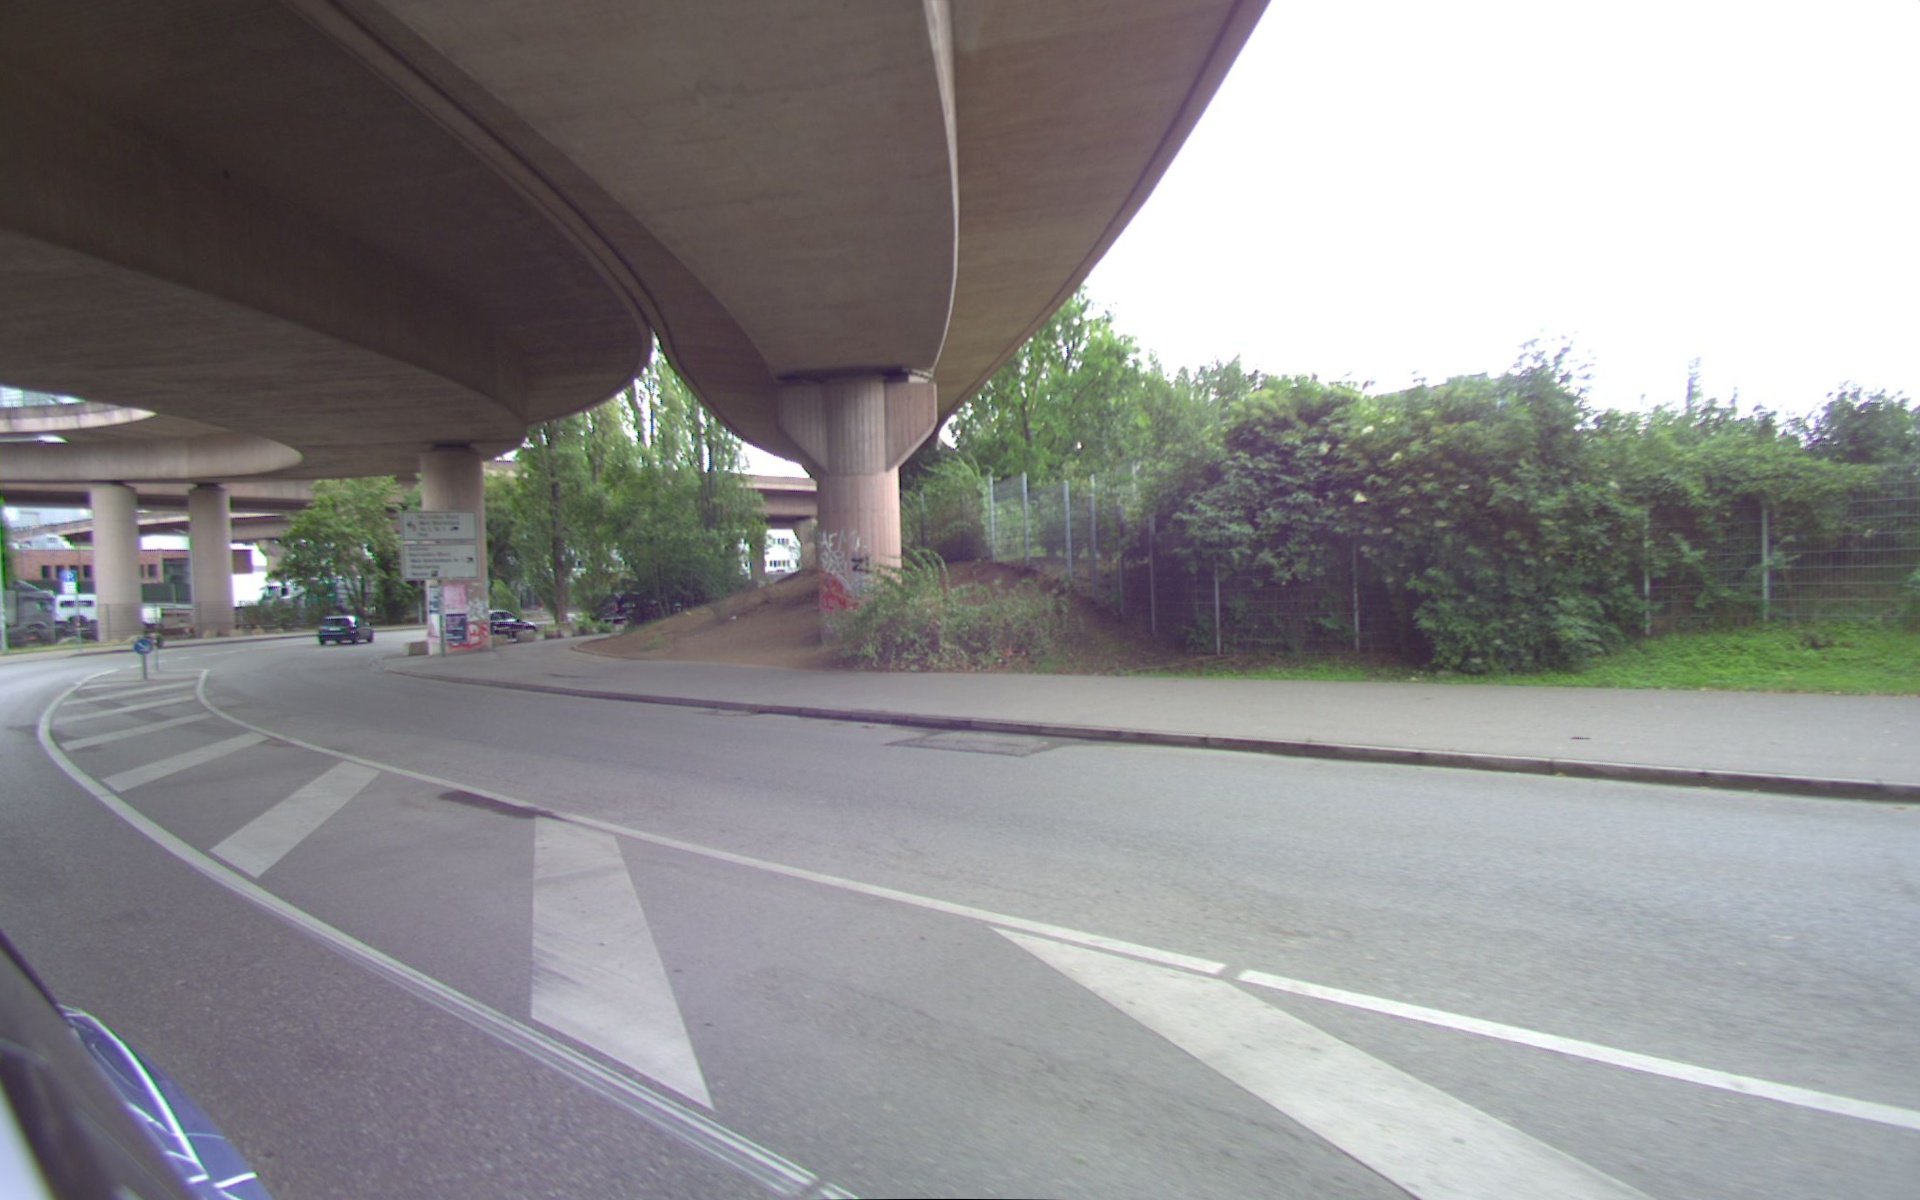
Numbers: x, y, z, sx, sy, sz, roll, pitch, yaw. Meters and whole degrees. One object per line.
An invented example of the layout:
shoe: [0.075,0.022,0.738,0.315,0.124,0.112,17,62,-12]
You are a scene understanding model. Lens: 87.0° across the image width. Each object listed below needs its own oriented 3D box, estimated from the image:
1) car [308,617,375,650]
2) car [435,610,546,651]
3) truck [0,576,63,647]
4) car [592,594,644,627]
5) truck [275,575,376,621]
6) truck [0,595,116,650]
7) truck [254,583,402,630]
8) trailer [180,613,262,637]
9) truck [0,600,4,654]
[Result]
car: [-31.115,1.656,51.021,1.654,1.441,4.010,-2,1,-13]
car: [-19.758,1.248,42.822,1.808,1.441,4.759,-4,0,10]
truck: [-62.699,0.823,62.681,3.904,4.399,10.018,-2,0,34]
car: [-21.074,0.607,62.220,1.826,1.931,4.988,-2,1,-32]
truck: [-49.776,-0.232,79.564,2.268,3.434,6.331,0,1,38]
truck: [-49.600,1.165,55.160,2.385,2.764,7.254,-2,0,-12]
truck: [-51.395,0.417,82.707,2.266,3.524,10.094,0,1,35]
trailer: [-46.756,1.562,64.172,1.587,1.341,4.371,-1,1,8]
truck: [-52.659,1.493,51.664,2.420,2.908,6.129,-2,0,-7]
